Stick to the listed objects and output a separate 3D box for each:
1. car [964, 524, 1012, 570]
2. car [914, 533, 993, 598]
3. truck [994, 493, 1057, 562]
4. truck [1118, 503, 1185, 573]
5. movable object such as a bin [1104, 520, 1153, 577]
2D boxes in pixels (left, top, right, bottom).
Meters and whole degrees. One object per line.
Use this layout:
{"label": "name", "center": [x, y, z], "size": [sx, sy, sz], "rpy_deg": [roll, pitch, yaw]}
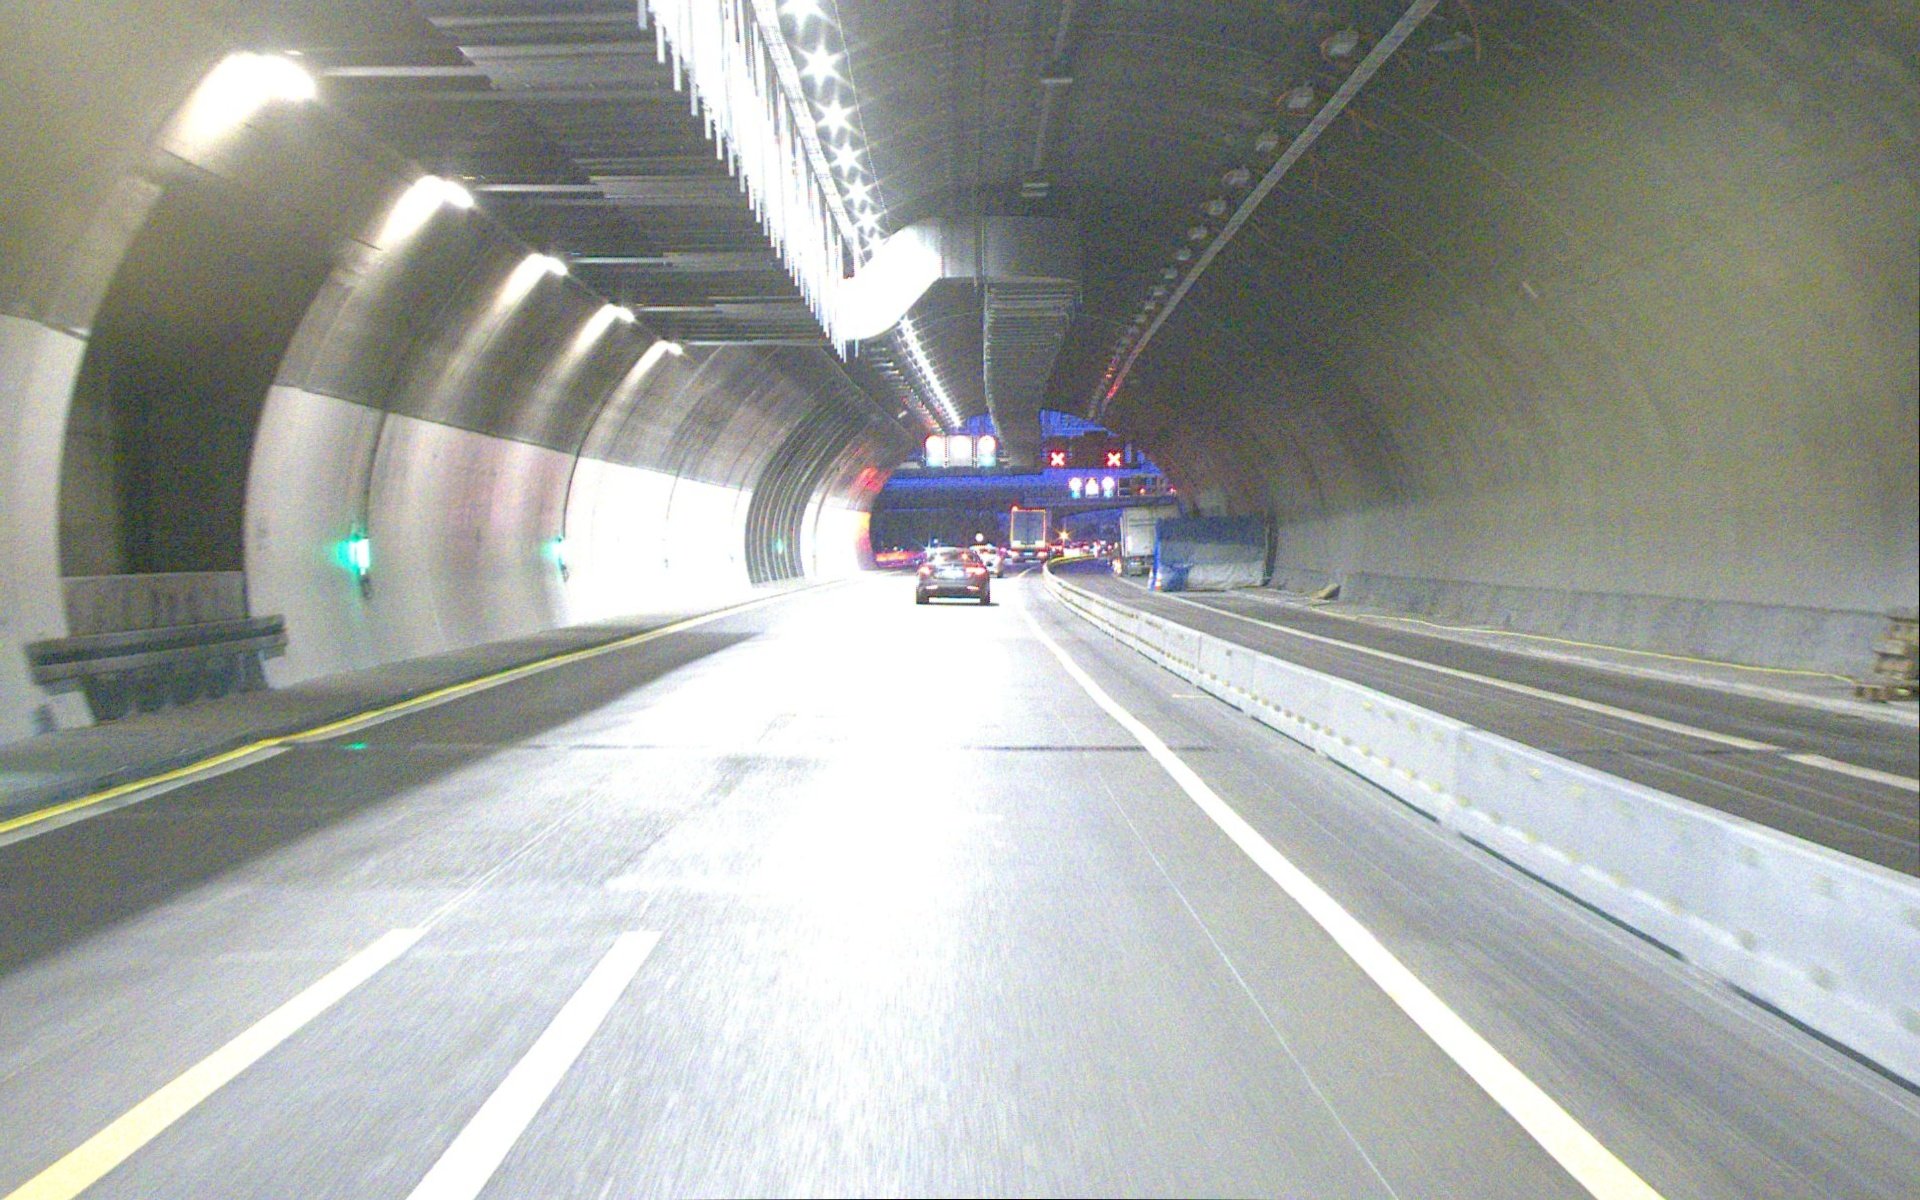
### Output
{"label": "car", "center": [1.212, -2.351, 152.143], "size": [1.993, 2.007, 4.000], "rpy_deg": [0, 1, -1]}
{"label": "car", "center": [-0.183, -0.889, 87.298], "size": [1.887, 1.601, 4.000], "rpy_deg": [0, 1, -2]}
{"label": "truck", "center": [4.787, -5.262, 252.492], "size": [4.546, 4.970, 9.599], "rpy_deg": [0, 1, 1]}
{"label": "truck", "center": [9.065, -2.932, 163.902], "size": [2.892, 3.261, 8.401], "rpy_deg": [0, 1, 1]}
{"label": "movable object such as a bin", "center": [8.430, -2.598, 172.468], "size": [2.238, 2.784, 7.233], "rpy_deg": [0, 1, 1]}
